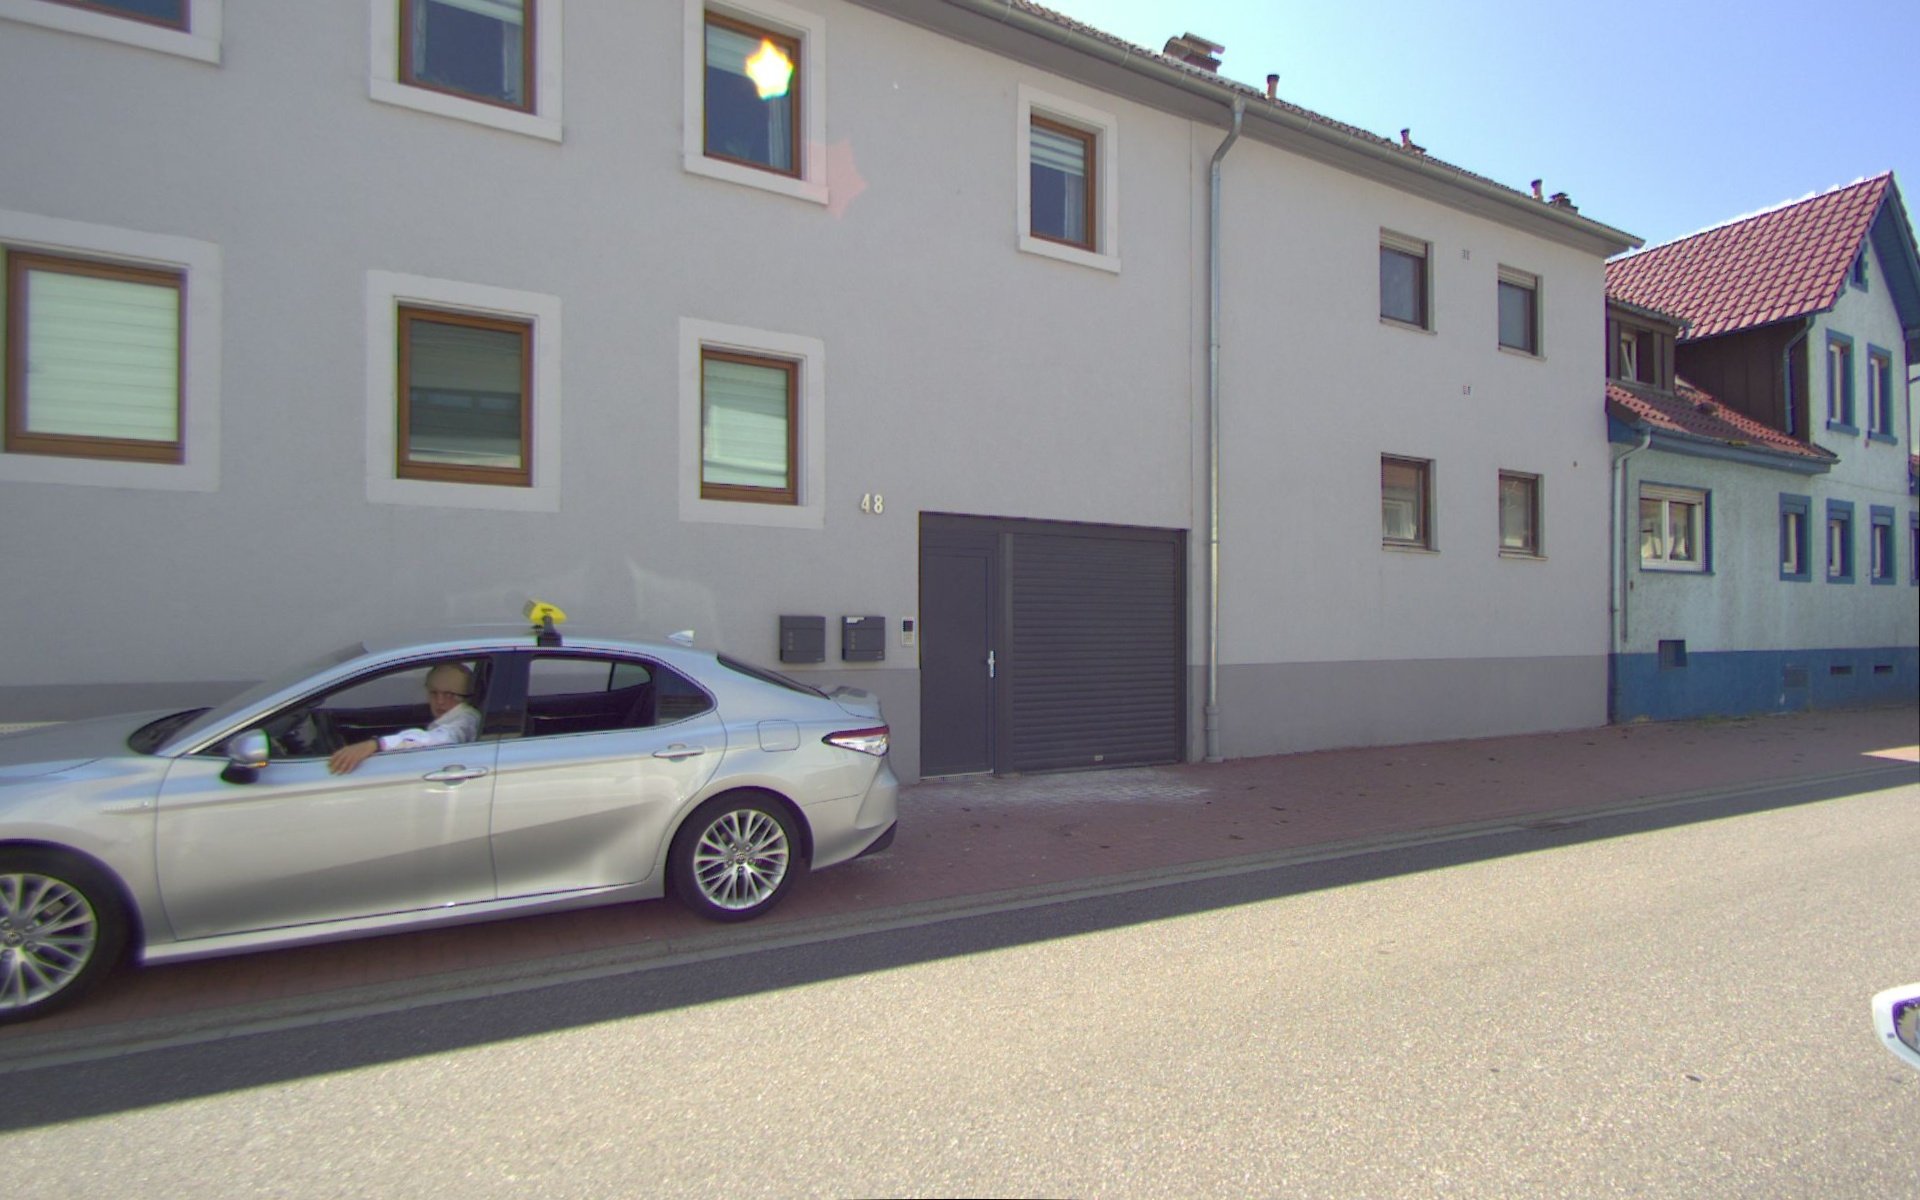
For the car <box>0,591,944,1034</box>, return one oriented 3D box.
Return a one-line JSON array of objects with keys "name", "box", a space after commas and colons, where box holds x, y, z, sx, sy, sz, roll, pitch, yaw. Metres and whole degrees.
[{"name": "car", "box": [-2.497, 0.798, 5.221, 4.509, 1.578, 1.800, 1, 1, -29]}]
